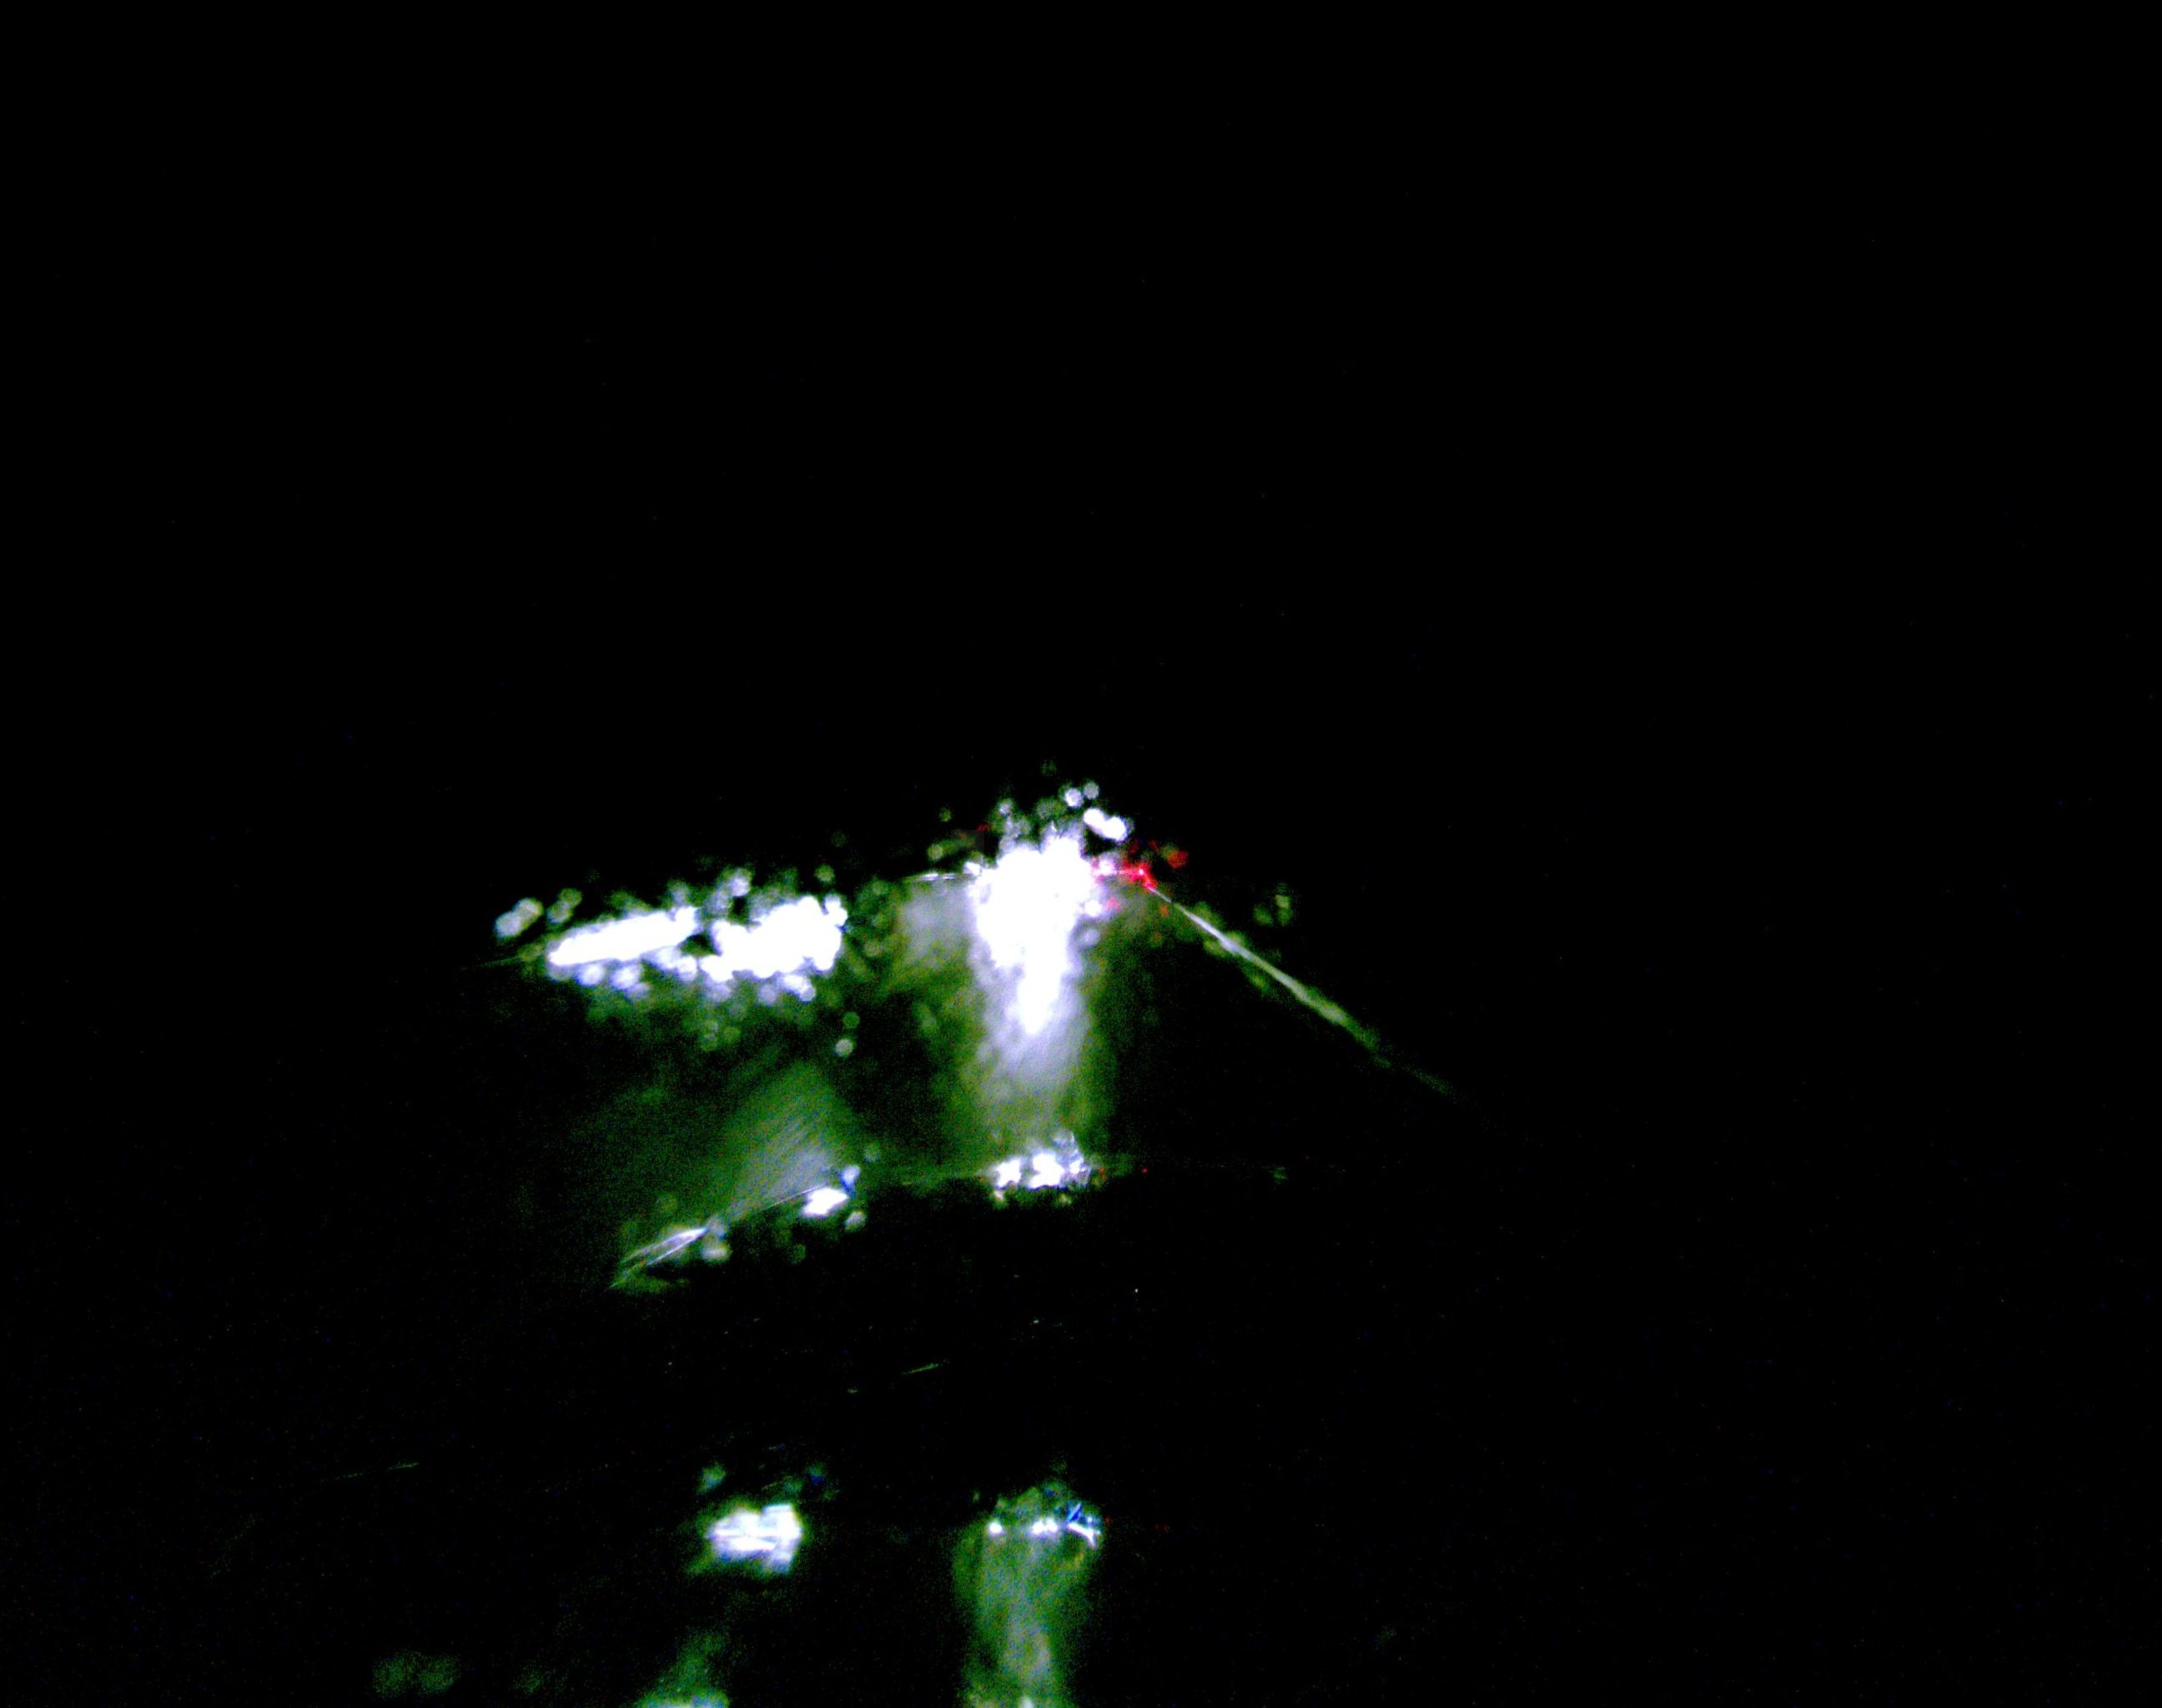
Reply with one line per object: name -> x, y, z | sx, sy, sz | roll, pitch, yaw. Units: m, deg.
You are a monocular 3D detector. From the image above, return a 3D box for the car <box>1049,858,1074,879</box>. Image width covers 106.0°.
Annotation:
car -> -1.650, 1.215, 70.763 | 1.852, 1.637, 4.145 | -2, 0, 2

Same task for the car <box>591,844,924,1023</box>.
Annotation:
car -> -3.284, 0.704, 9.381 | 1.967, 1.516, 4.348 | -2, 0, 1

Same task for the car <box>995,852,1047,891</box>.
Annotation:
car -> -2.437, 0.674, 33.691 | 1.779, 1.510, 3.601 | -1, 0, 1

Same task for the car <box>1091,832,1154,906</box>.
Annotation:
car -> 1.496, 0.445, 30.371 | 2.173, 2.557, 4.510 | 0, 2, 1
